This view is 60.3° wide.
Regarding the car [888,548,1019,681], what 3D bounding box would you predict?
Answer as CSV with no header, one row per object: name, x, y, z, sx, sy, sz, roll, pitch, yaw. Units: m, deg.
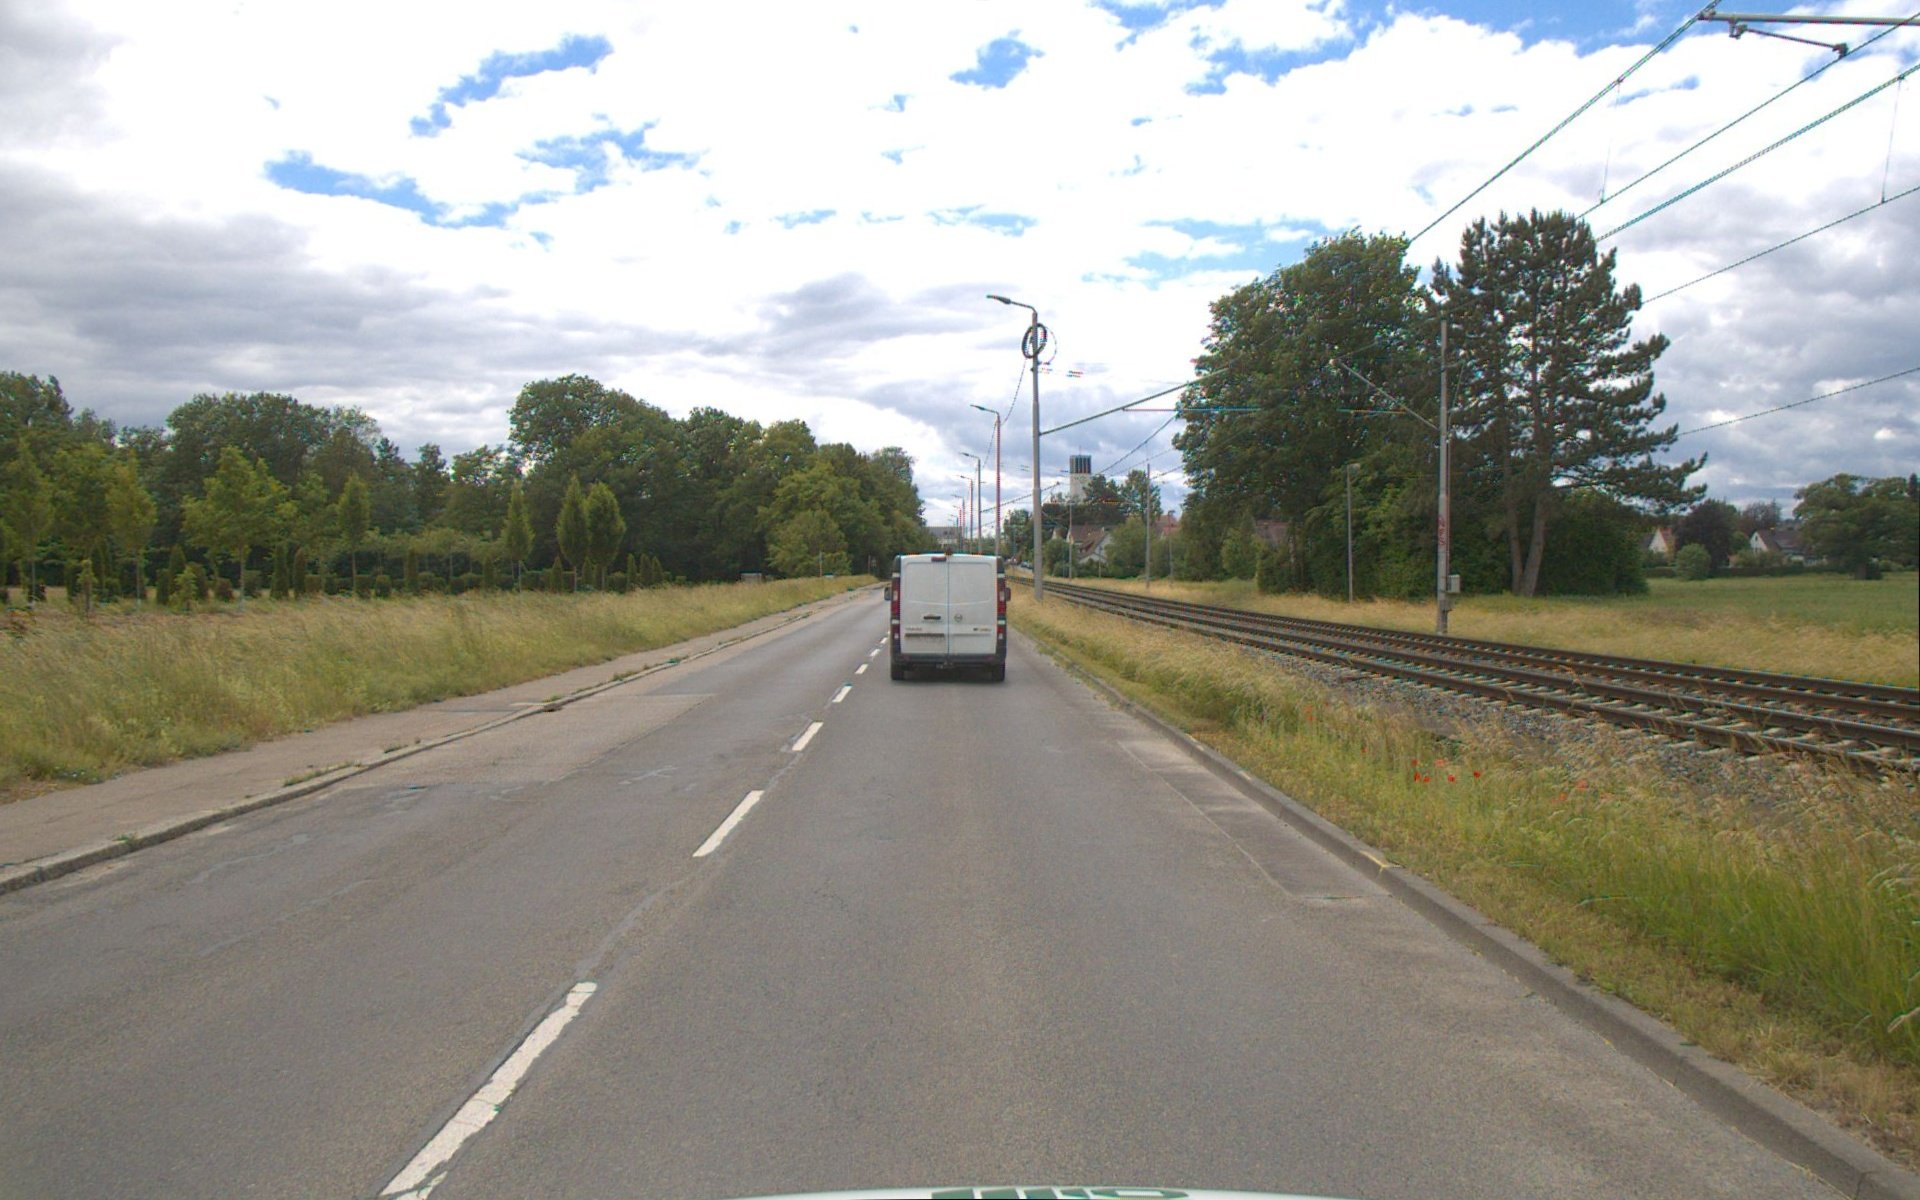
car,-0.156,0.207,27.117,1.953,1.991,3.999,1,0,-2
